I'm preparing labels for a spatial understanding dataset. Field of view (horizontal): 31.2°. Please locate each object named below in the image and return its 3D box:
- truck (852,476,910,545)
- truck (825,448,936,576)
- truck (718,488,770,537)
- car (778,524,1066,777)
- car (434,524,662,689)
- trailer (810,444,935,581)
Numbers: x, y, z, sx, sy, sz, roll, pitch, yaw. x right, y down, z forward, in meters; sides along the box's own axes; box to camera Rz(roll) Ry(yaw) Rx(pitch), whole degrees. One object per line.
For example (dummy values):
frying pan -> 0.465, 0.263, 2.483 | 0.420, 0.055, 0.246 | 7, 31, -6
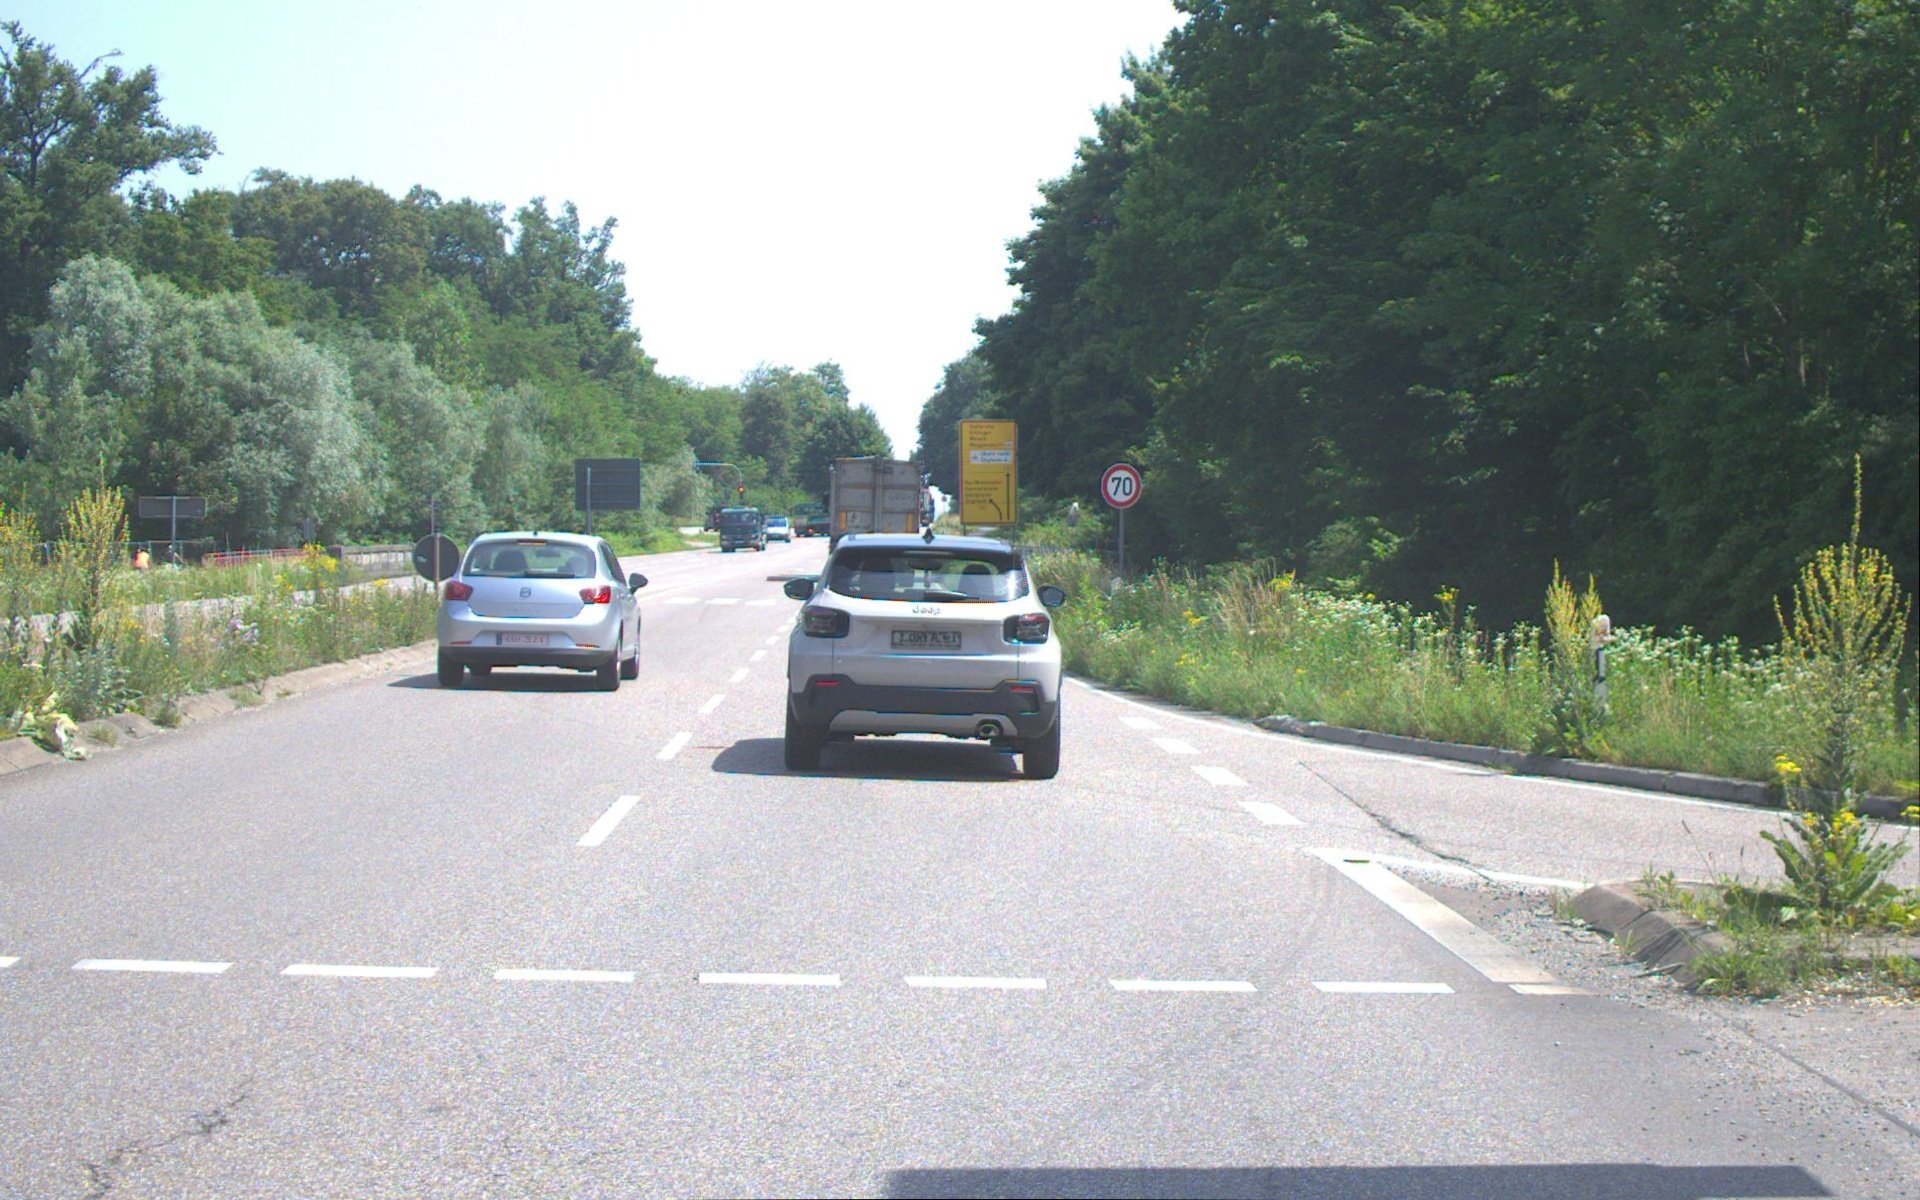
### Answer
truck -> -4.943, -5.619, 216.419 | 3.497, 4.173, 10.785 | 1, 1, -1
truck -> -2.527, -2.835, 111.649 | 3.333, 3.975, 6.533 | 1, 1, 1
truck -> -12.441, -5.059, 198.216 | 2.454, 2.647, 6.491 | -3, 2, 0
car -> -0.233, 0.268, 23.245 | 1.767, 1.529, 4.000 | 0, 2, 0
car -> -3.847, 0.017, 32.613 | 1.666, 1.425, 3.828 | 1, 2, 0
trailer -> -2.618, -2.688, 106.715 | 3.383, 3.975, 10.804 | 1, 1, 1
